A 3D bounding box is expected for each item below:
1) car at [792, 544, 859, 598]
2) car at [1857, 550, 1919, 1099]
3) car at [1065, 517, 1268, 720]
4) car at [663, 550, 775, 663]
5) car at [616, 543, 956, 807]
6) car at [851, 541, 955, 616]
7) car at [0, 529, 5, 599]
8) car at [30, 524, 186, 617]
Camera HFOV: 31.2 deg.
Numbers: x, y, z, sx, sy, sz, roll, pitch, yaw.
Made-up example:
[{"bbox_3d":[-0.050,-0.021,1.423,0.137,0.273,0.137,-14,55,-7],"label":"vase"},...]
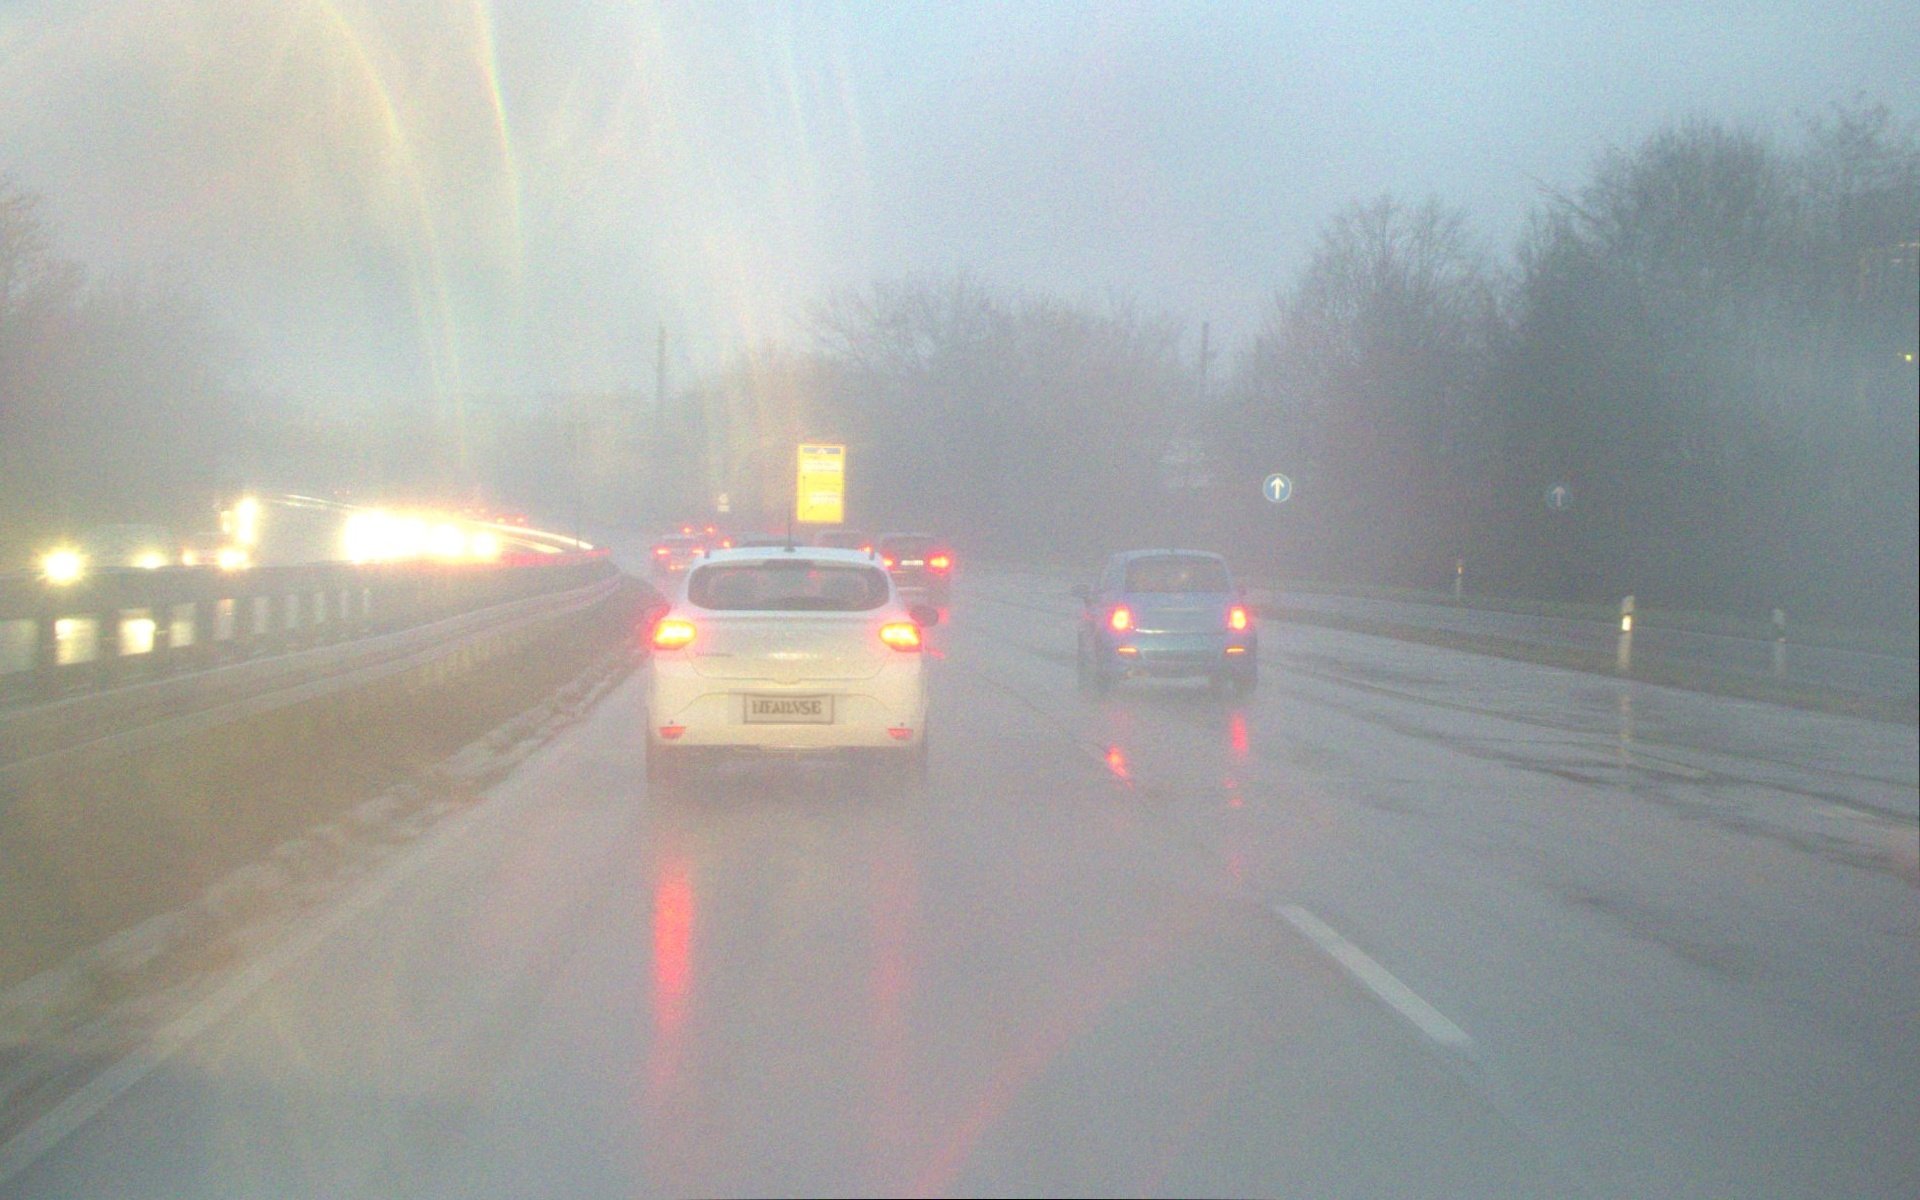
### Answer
[{"bbox_3d":[-4.026,-0.873,102.352,1.932,1.541,3.774,1,1,-3],"label":"car"},{"bbox_3d":[3.602,0.651,7.840,1.849,1.496,4.263,1,1,-2],"label":"car"},{"bbox_3d":[2.139,0.157,36.571,1.932,2.012,3.773,1,1,0],"label":"car"},{"bbox_3d":[-4.524,0.094,64.342,1.993,2.007,4.001,1,1,-4],"label":"car"},{"bbox_3d":[-1.118,0.425,22.807,2.024,1.569,4.000,1,1,-2],"label":"car"},{"bbox_3d":[-1.351,-0.493,79.698,1.932,1.541,3.774,-5,1,-7],"label":"car"},{"bbox_3d":[-22.338,-0.792,75.147,1.837,1.550,4.355,1,1,-2],"label":"car"},{"bbox_3d":[-14.856,-0.530,60.147,1.837,1.550,4.356,1,1,-3],"label":"car"}]
